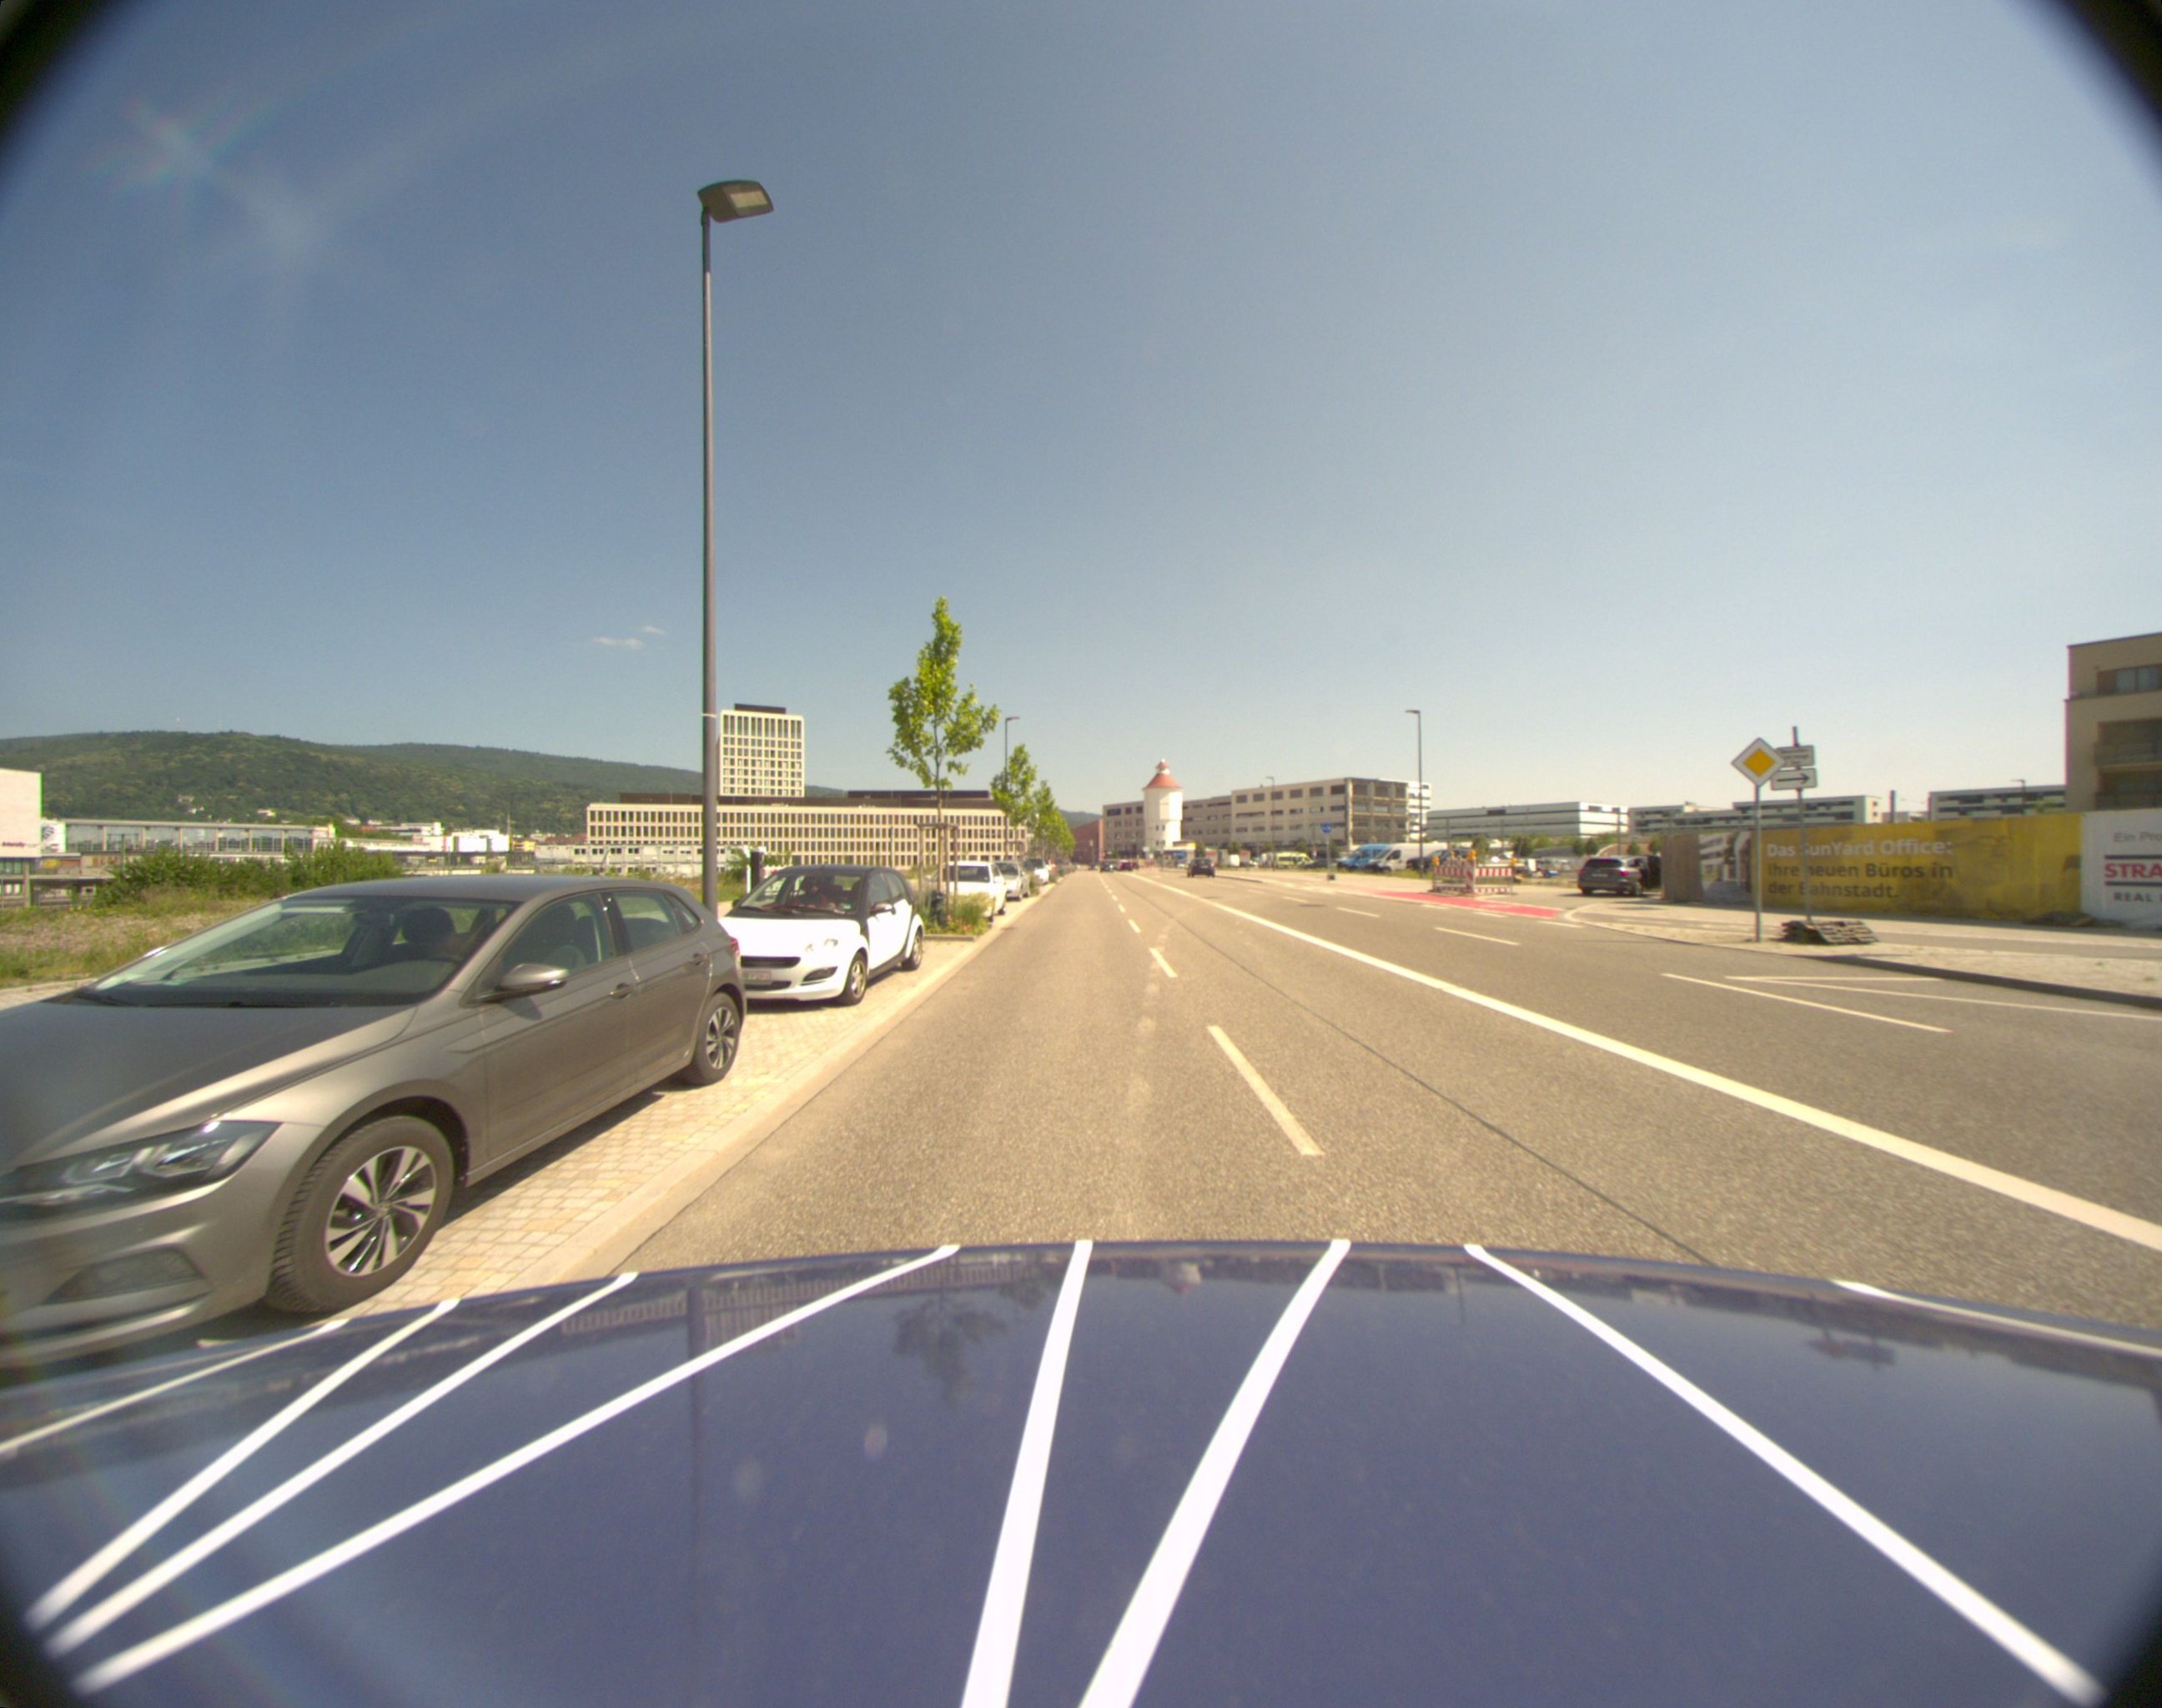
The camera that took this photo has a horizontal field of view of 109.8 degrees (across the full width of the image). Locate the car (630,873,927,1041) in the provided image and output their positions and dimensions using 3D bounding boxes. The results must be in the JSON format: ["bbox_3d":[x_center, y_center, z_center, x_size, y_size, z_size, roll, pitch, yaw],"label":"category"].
[{"bbox_3d":[-3.188,0.998,8.995,1.708,1.454,4.086,-1,0,3],"label":"car"}]

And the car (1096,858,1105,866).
[{"bbox_3d":[3.878,1.634,151.919,1.783,1.552,3.832,-2,0,2],"label":"car"}]

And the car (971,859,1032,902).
[{"bbox_3d":[-2.886,0.928,28.507,1.913,1.470,4.157,0,0,-1],"label":"car"}]

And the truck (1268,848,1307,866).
[{"bbox_3d":[35.070,0.492,129.368,5.850,2.808,2.570,-2,1,0],"label":"truck"}]

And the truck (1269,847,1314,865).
[{"bbox_3d":[35.037,0.275,126.390,6.654,2.809,2.602,-2,0,-2],"label":"truck"}]

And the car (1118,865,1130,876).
[{"bbox_3d":[7.177,2.786,127.115,1.790,1.411,4.287,-5,-6,1],"label":"car"}]

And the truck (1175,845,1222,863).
[{"bbox_3d":[28.578,-0.047,184.735,10.988,4.044,3.297,-2,1,-17],"label":"truck"}]

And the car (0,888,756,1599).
[{"bbox_3d":[-3.279,0.968,3.655,1.708,1.454,3.954,0,0,0],"label":"car"}]

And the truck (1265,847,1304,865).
[{"bbox_3d":[35.833,0.351,134.091,6.160,2.884,2.570,-2,1,1],"label":"truck"}]

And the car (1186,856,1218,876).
[{"bbox_3d":[8.997,0.865,56.583,1.708,1.344,4.456,0,0,0],"label":"car"}]

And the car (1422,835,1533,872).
[{"bbox_3d":[23.806,-0.042,45.753,5.458,2.160,2.395,0,0,-3],"label":"car"}]

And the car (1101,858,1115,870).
[{"bbox_3d":[3.505,1.335,99.388,1.783,1.552,3.832,0,0,0],"label":"car"}]

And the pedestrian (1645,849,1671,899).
[{"bbox_3d":[19.801,0.676,26.076,0.685,1.674,0.757,-1,2,36],"label":"pedestrian"}]

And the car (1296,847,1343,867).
[{"bbox_3d":[22.639,0.309,72.115,3.994,1.892,1.829,0,0,8],"label":"car"}]

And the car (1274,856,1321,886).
[{"bbox_3d":[11.888,0.891,41.864,1.611,1.468,3.678,1,1,2],"label":"car"}]

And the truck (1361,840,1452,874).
[{"bbox_3d":[23.481,0.212,54.932,5.581,2.349,2.275,0,0,-1],"label":"truck"}]

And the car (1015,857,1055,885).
[{"bbox_3d":[-2.687,0.988,45.254,1.913,1.568,4.159,0,0,4],"label":"car"}]

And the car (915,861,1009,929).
[{"bbox_3d":[-2.885,0.952,19.246,1.750,1.500,4.001,-1,0,0],"label":"car"}]

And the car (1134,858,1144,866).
[{"bbox_3d":[11.875,1.725,156.558,1.907,1.618,4.388,-1,0,2],"label":"car"}]

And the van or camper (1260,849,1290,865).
[{"bbox_3d":[35.355,0.534,138.382,4.912,2.646,2.260,-2,0,0],"label":"van or camper"}]

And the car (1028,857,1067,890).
[{"bbox_3d":[-1.652,0.930,37.676,1.794,1.468,4.371,-1,0,-3],"label":"car"}]

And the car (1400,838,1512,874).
[{"bbox_3d":[23.793,0.113,48.433,5.894,2.153,2.396,-1,0,6],"label":"car"}]

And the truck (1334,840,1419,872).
[{"bbox_3d":[24.030,0.178,61.992,6.019,2.528,2.275,0,0,1],"label":"truck"}]

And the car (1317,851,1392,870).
[{"bbox_3d":[23.670,0.567,65.859,5.666,1.465,2.107,-1,0,-2],"label":"car"}]

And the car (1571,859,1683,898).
[{"bbox_3d":[19.969,0.841,27.751,4.255,1.310,1.995,0,0,-34],"label":"car"}]

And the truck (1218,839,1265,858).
[{"bbox_3d":[39.582,-1.303,187.432,10.951,4.251,3.341,-2,1,-11],"label":"truck"}]
